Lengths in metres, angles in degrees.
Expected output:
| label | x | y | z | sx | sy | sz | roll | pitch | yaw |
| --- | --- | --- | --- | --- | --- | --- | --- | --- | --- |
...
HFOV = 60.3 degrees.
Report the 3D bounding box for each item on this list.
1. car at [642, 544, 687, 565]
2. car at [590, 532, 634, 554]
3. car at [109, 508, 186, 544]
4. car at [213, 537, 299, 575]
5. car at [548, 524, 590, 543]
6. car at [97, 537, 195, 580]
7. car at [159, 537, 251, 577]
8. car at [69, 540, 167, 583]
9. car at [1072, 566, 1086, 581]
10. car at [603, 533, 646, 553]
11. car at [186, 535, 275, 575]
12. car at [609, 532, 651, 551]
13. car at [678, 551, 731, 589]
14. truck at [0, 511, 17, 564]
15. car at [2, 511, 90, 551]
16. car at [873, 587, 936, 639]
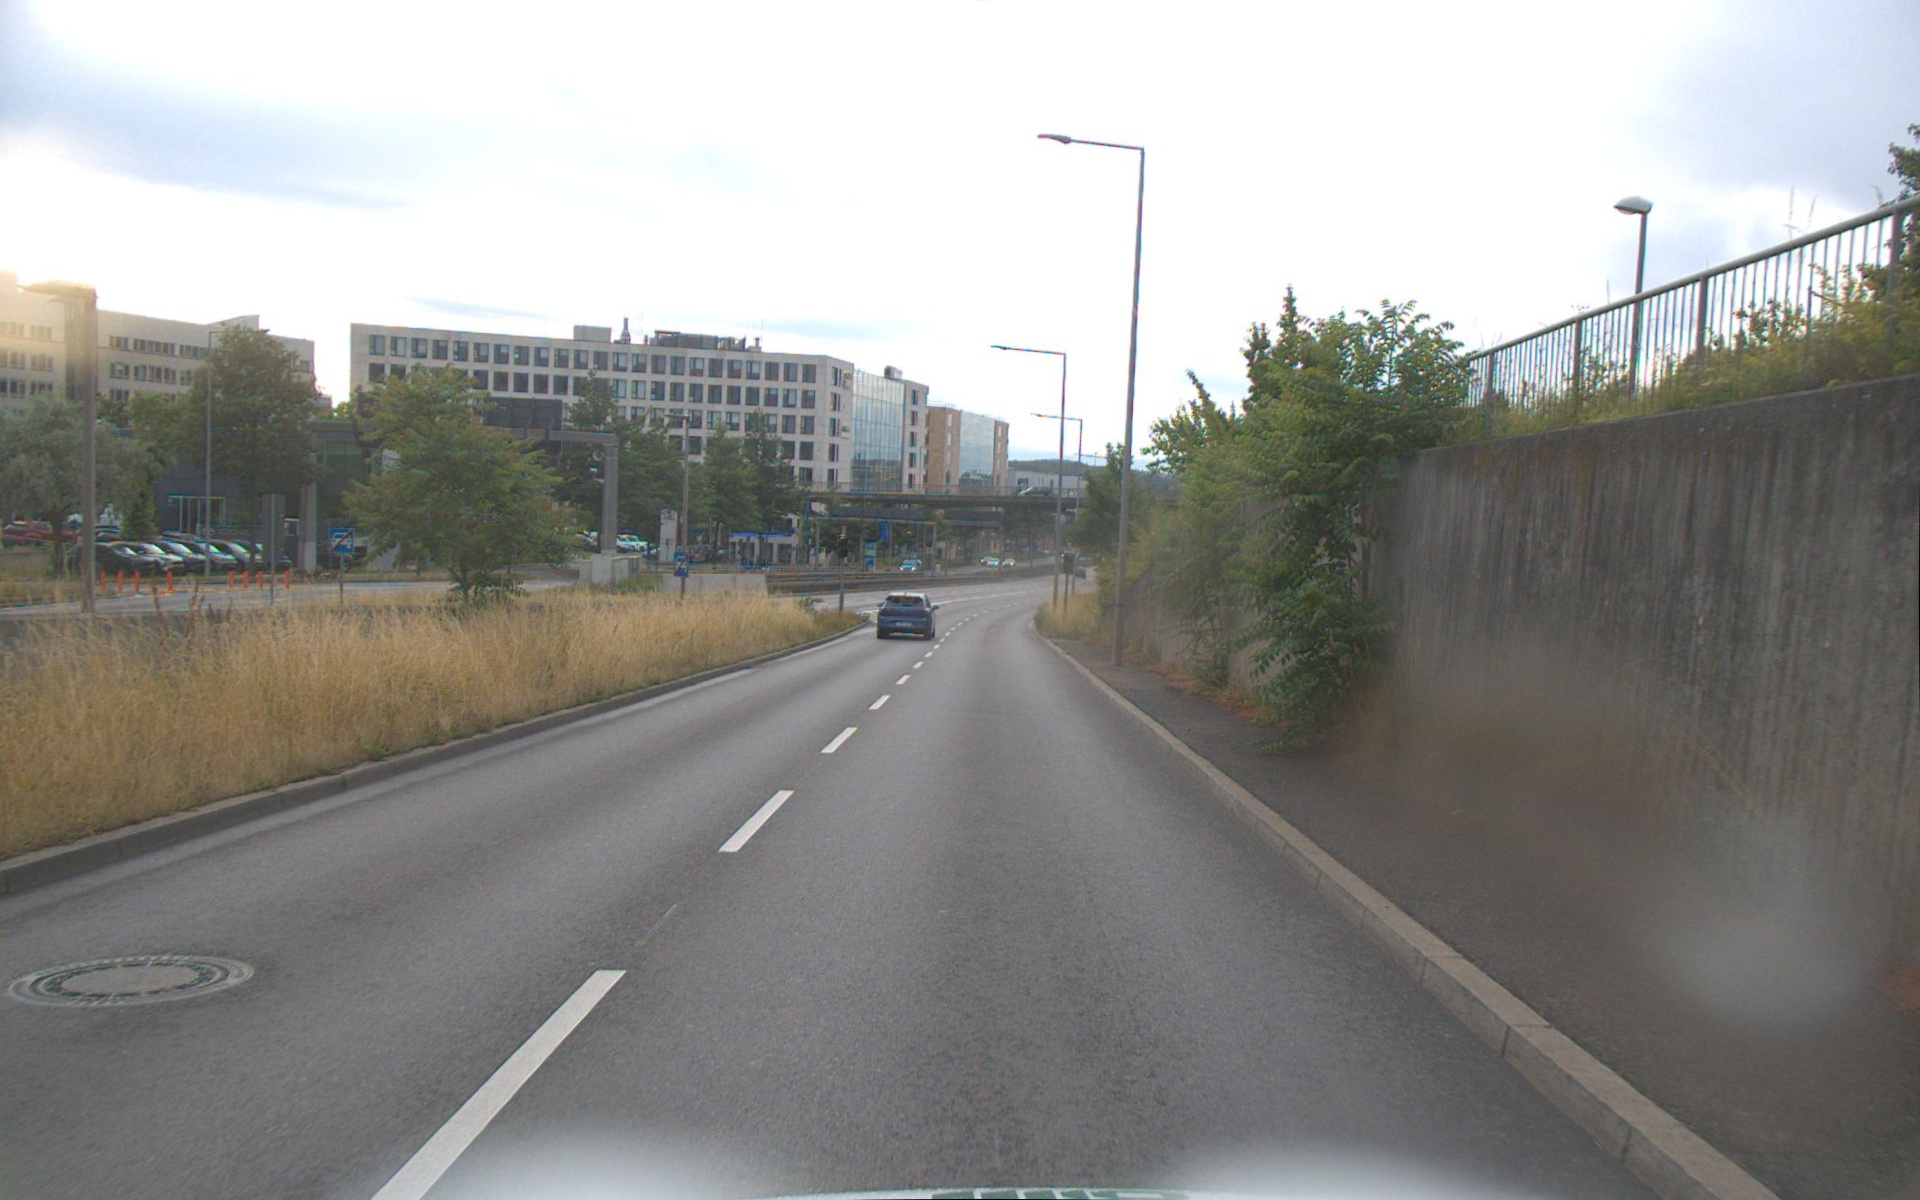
| label | x | y | z | sx | sy | sz | roll | pitch | yaw |
| --- | --- | --- | --- | --- | --- | --- | --- | --- | --- |
| car | -28.914 | -4.460 | 161.700 | 3.930 | 1.679 | 1.989 | 4 | 2 | -22 |
| car | -35.890 | -5.880 | 170.506 | 3.904 | 1.907 | 2.002 | 6 | 4 | 14 |
| car | -49.218 | -4.476 | 100.298 | 3.930 | 1.812 | 1.913 | 3 | 5 | -22 |
| car | -38.876 | -2.438 | 91.330 | 3.903 | 1.712 | 1.926 | 5 | 4 | 9 |
| car | -41.691 | -7.066 | 176.487 | 3.904 | 1.678 | 1.823 | 5 | 4 | 5 |
| car | -40.313 | -2.062 | 81.969 | 3.903 | 1.712 | 1.926 | 5 | 4 | 9 |
| car | -39.564 | -2.273 | 86.692 | 3.903 | 1.712 | 1.926 | 5 | 4 | 9 |
| car | -40.656 | -1.874 | 79.851 | 3.917 | 1.627 | 1.701 | 5 | 4 | 9 |
| car | 16.750 | -3.785 | 233.100 | 1.824 | 1.779 | 4.005 | 5 | 4 | 5 |
| car | -35.641 | -6.089 | 175.920 | 3.904 | 1.678 | 2.002 | 6 | 5 | 14 |
| car | -39.266 | -2.442 | 89.095 | 3.903 | 1.712 | 1.926 | 5 | 4 | 9 |
| car | -35.615 | -6.343 | 178.491 | 3.904 | 1.678 | 2.002 | 6 | 5 | 14 |
| car | -12.953 | -1.557 | 83.932 | 1.652 | 1.617 | 3.553 | 5 | 4 | 7 |
| truck | -49.685 | -3.022 | 80.429 | 2.316 | 2.570 | 7.421 | 5 | 5 | 11 |
| car | -49.710 | -3.780 | 90.026 | 1.862 | 1.913 | 4.005 | 5 | 5 | 14 |
| car | -1.747 | 0.383 | 52.823 | 1.712 | 1.444 | 3.480 | -1 | 3 | 2 |
